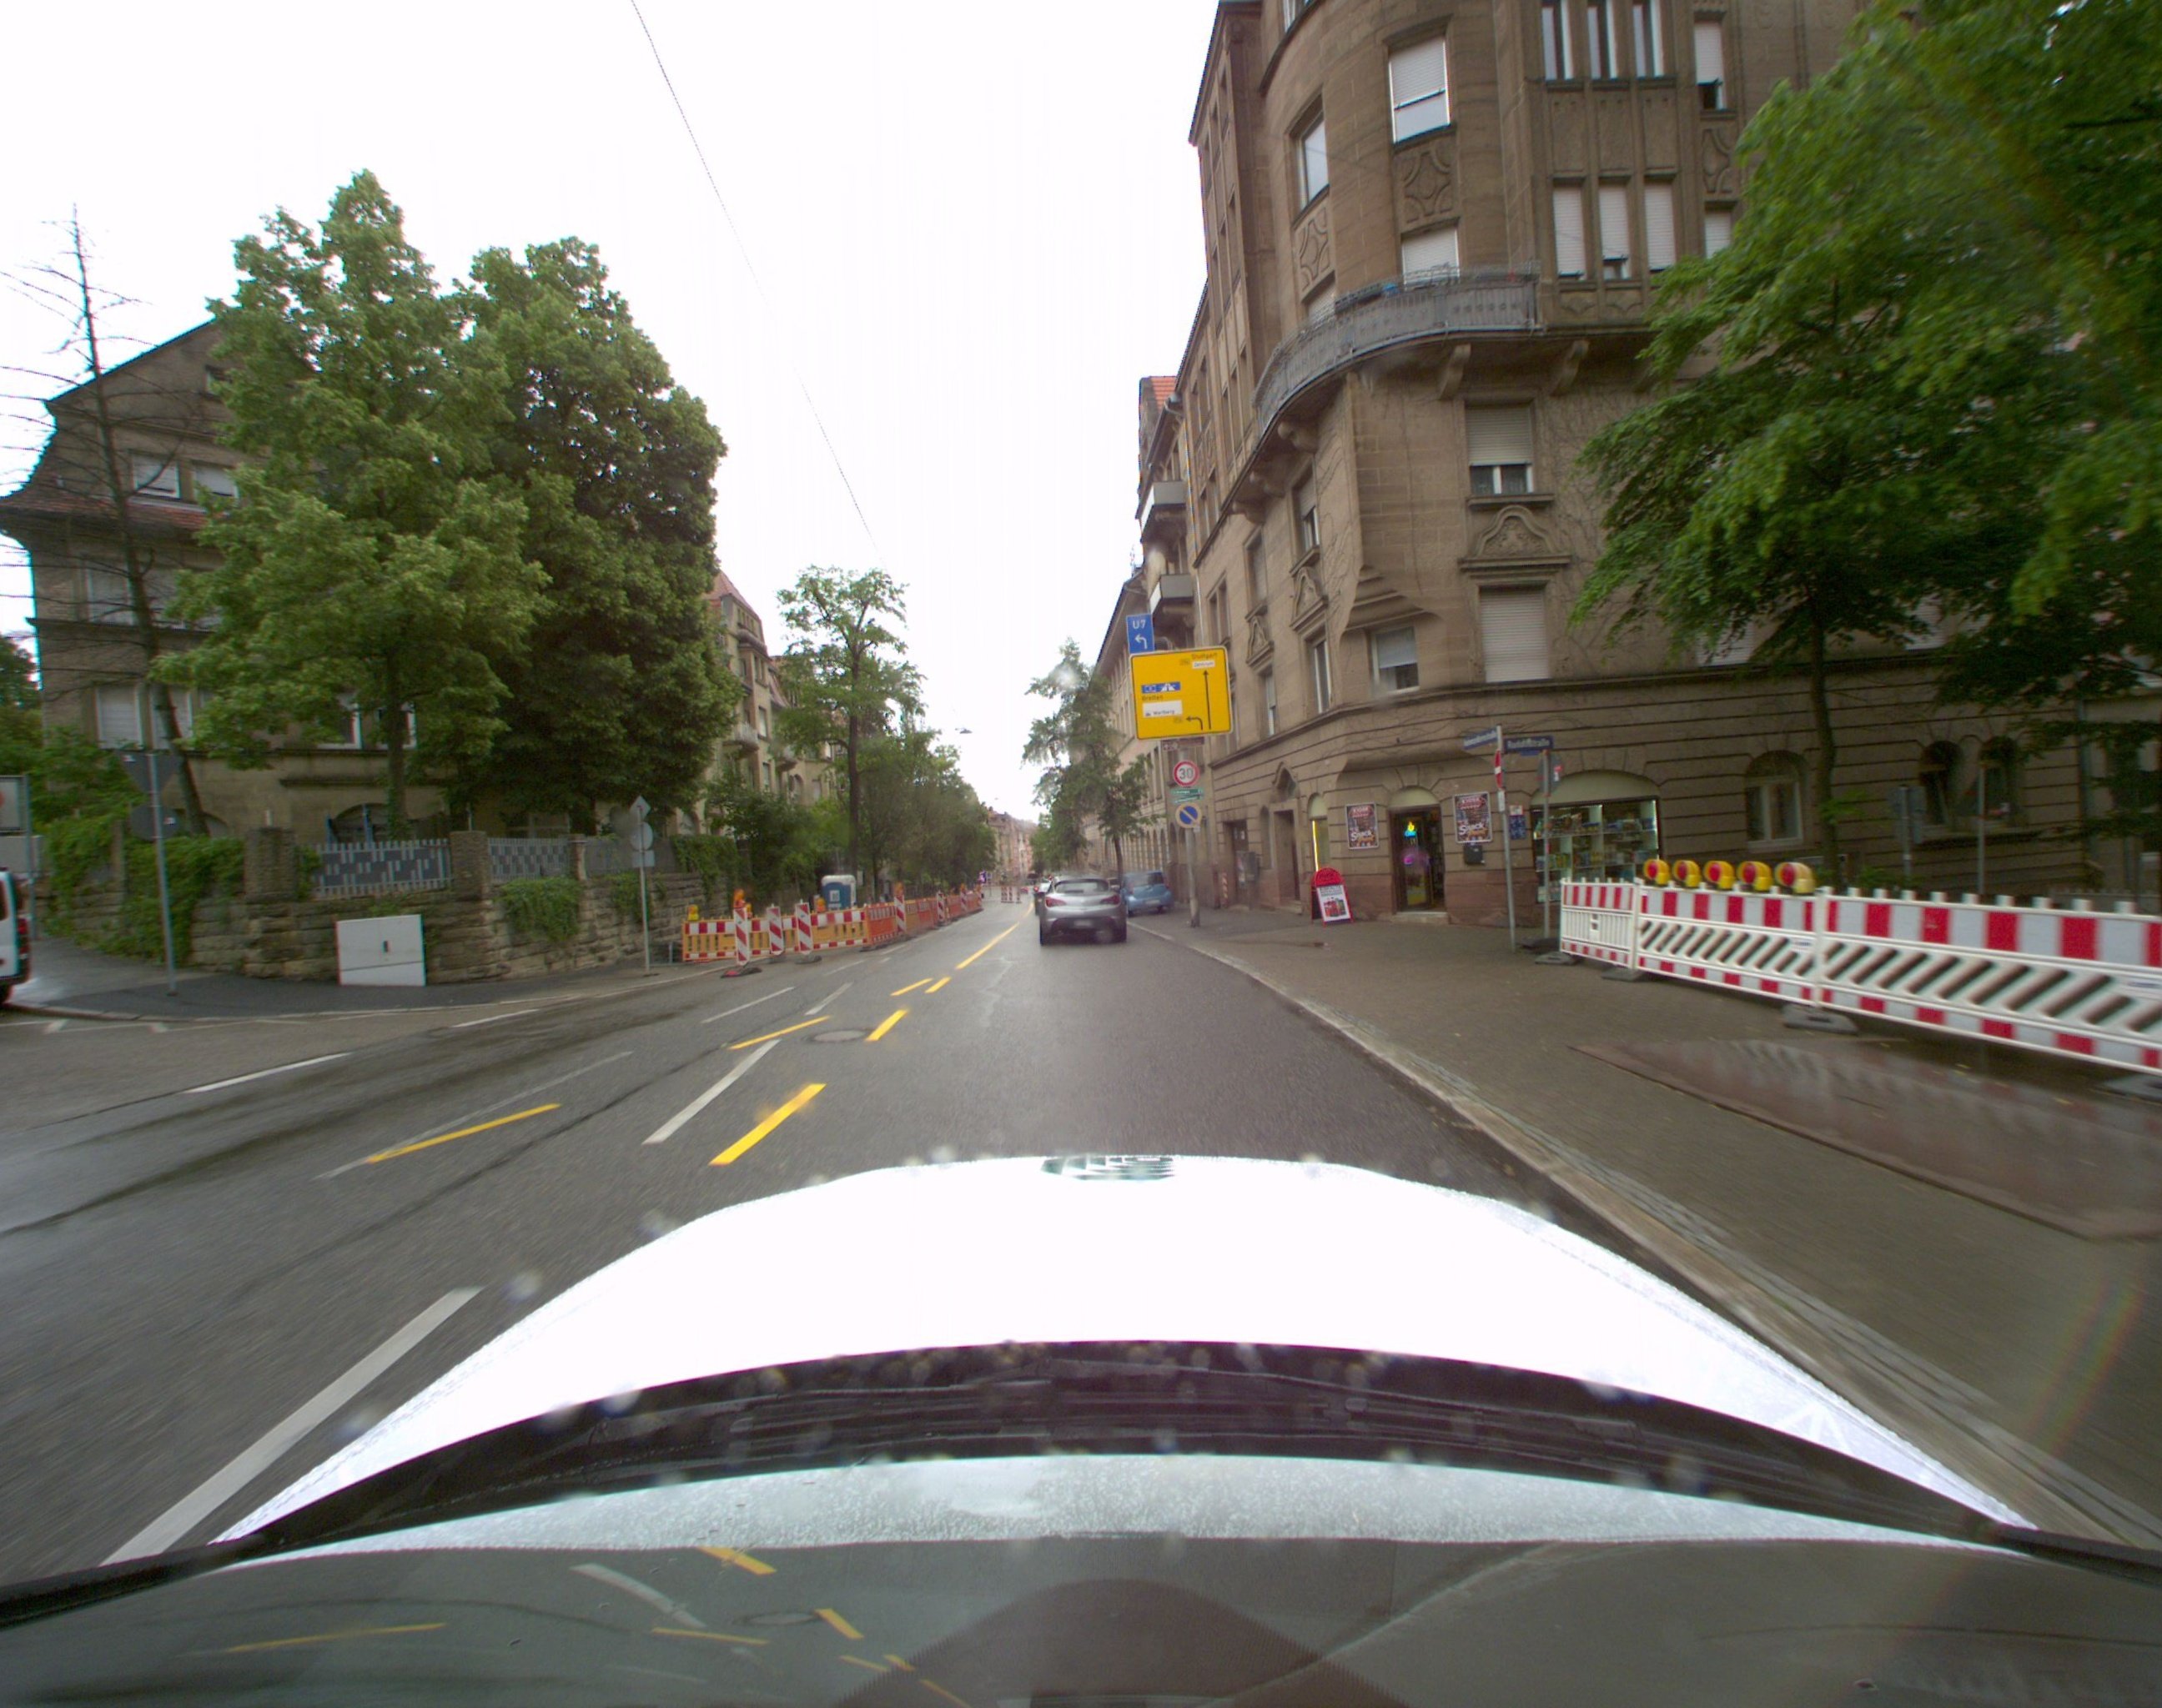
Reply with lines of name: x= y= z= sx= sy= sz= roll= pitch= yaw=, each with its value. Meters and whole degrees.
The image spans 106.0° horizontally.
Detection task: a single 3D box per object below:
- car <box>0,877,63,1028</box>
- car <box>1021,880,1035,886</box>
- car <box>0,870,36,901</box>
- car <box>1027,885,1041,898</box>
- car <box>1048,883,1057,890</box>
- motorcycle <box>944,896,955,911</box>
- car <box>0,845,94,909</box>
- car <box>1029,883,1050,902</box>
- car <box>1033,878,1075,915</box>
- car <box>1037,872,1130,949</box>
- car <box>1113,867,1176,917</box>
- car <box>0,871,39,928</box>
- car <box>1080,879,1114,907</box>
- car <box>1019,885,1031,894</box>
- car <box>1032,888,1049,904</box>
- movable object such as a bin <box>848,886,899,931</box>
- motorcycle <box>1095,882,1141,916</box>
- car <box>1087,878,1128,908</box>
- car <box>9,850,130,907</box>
car: x=-17.445 y=1.359 z=11.627 sx=4.626 sy=2.048 sz=2.035 roll=1 pitch=1 yaw=17
car: x=-15.142 y=8.225 z=231.453 sx=3.979 sy=1.750 sz=1.997 roll=-1 pitch=-3 yaw=-4
car: x=-52.733 y=1.540 z=39.141 sx=2.124 sy=1.409 sz=4.391 roll=2 pitch=-4 yaw=-39
car: x=-6.229 y=4.990 z=107.233 sx=1.654 sy=1.543 sz=3.659 roll=-6 pitch=-2 yaw=-4
car: x=-7.981 y=9.033 z=226.633 sx=1.983 sy=1.684 sz=4.006 roll=-2 pitch=-3 yaw=7
motorcycle: x=-12.686 y=4.747 z=78.477 sx=0.764 sy=1.346 sz=2.199 roll=-2 pitch=-3 yaw=-4
car: x=-35.500 y=0.773 z=27.567 sx=1.805 sy=2.041 sz=3.891 roll=3 pitch=-3 yaw=-39
car: x=-3.772 y=3.446 z=73.012 sx=1.654 sy=1.543 sz=3.659 roll=-6 pitch=-2 yaw=-4
car: x=-1.223 y=1.887 z=36.920 sx=1.767 sy=1.504 sz=3.865 roll=-3 pitch=-2 yaw=-2
car: x=0.008 y=1.209 z=18.340 sx=1.806 sy=1.450 sz=3.866 roll=-3 pitch=-2 yaw=-2
car: x=2.234 y=1.376 z=29.504 sx=1.654 sy=1.543 sz=3.659 roll=-6 pitch=-2 yaw=-4
car: x=-32.263 y=1.298 z=23.238 sx=2.124 sy=1.628 sz=4.391 roll=2 pitch=-3 yaw=-39
car: x=0.971 y=2.436 z=51.143 sx=1.636 sy=1.520 sz=3.177 roll=-7 pitch=-2 yaw=-5
car: x=-10.349 y=6.542 z=149.672 sx=1.991 sy=1.501 sz=3.991 roll=-4 pitch=-3 yaw=-6
car: x=-4.424 y=4.534 z=87.877 sx=1.654 sy=1.543 sz=3.659 roll=-6 pitch=-2 yaw=-4
movable object such as a bin: x=-11.799 y=3.048 z=46.434 sx=1.987 sy=2.299 sz=2.814 roll=-5 pitch=-2 yaw=0
motorcycle: x=1.625 y=1.949 z=35.345 sx=1.949 sy=1.235 sz=0.650 roll=-5 pitch=-1 yaw=-40
car: x=1.432 y=2.173 z=45.573 sx=1.692 sy=1.431 sz=4.414 roll=-7 pitch=-2 yaw=-5
car: x=-38.163 y=0.931 z=30.878 sx=1.932 sy=2.012 sz=4.391 roll=2 pitch=-3 yaw=-39
